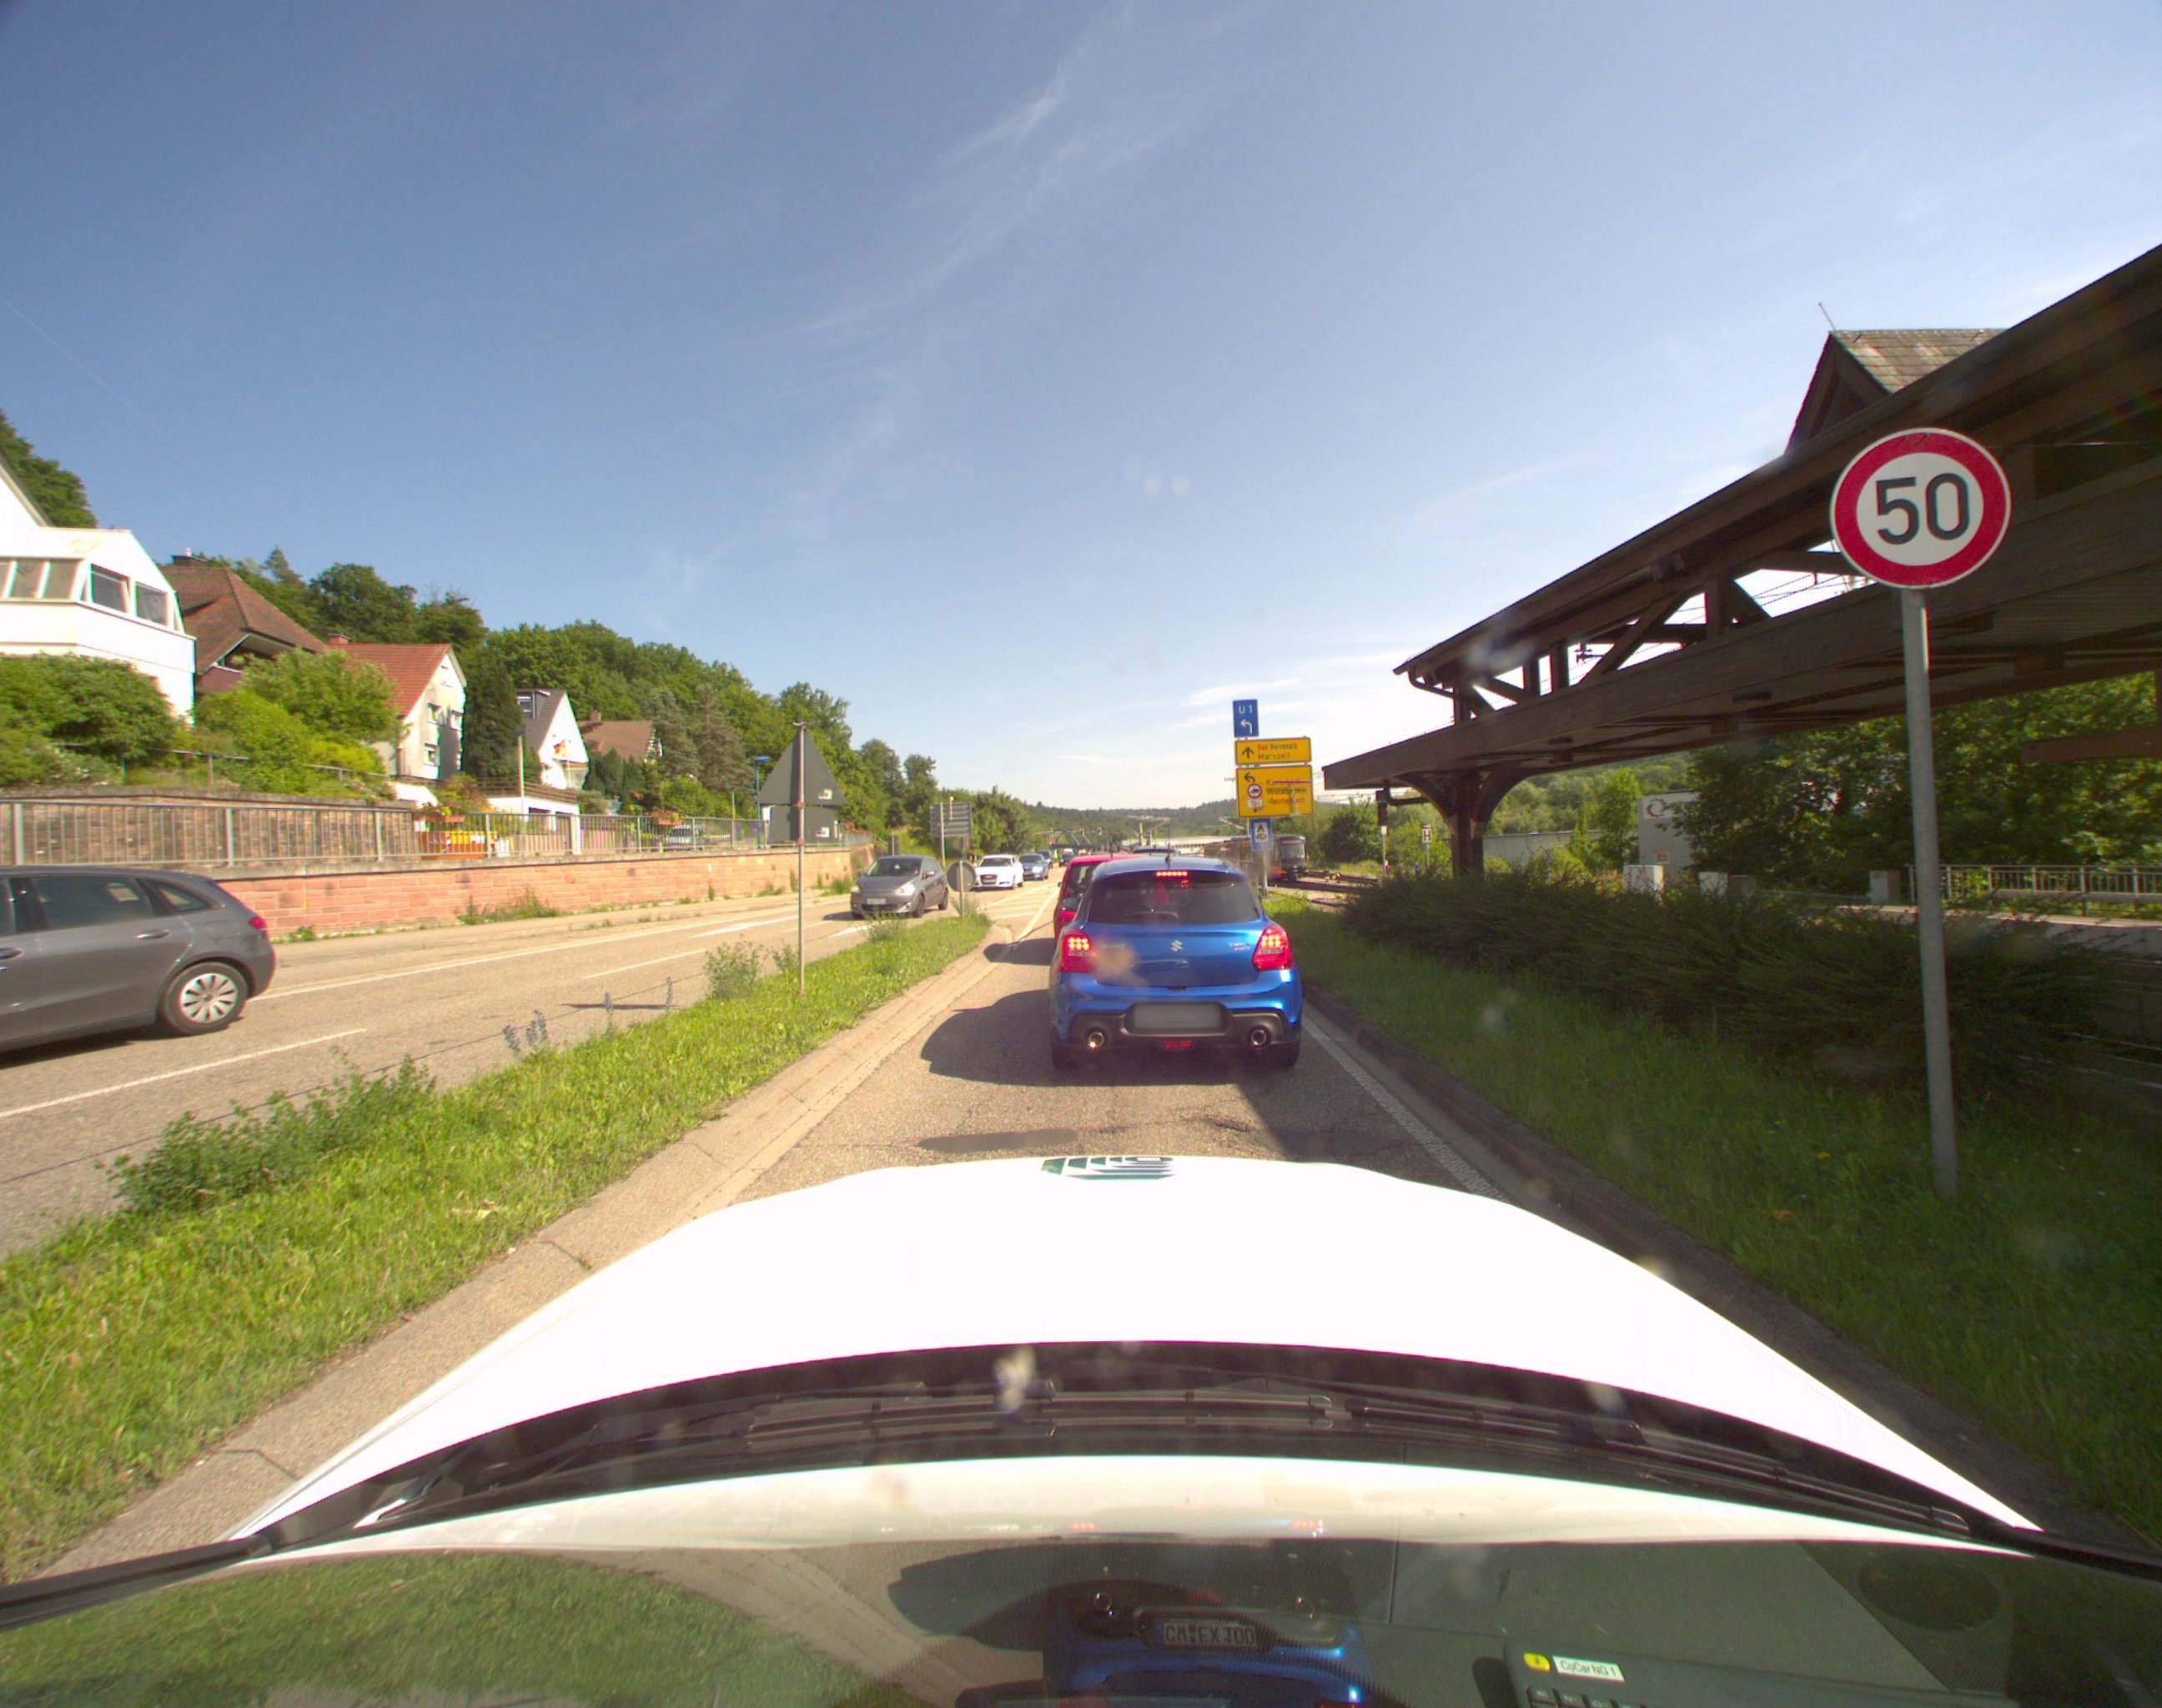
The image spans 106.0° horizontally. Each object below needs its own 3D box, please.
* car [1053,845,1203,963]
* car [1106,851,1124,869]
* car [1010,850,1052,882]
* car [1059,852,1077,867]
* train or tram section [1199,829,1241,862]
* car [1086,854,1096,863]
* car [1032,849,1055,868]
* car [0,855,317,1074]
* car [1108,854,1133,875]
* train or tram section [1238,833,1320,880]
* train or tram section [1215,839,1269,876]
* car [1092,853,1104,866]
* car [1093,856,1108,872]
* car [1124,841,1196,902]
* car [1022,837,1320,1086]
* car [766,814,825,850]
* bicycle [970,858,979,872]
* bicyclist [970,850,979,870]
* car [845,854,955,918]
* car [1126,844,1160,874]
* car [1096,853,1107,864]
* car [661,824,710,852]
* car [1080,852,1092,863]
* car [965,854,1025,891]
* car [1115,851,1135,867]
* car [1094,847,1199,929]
[{"bbox_3d":[0.737,0.668,12.824,1.985,1.571,4.004,0,0,3],"label":"car"},{"bbox_3d":[3.971,0.703,95.037,1.986,2.013,4.002,0,1,2],"label":"car"},{"bbox_3d":[-2.684,0.626,44.226,1.825,1.468,3.815,1,2,3],"label":"car"},{"bbox_3d":[-1.380,0.580,88.323,1.826,1.431,3.812,0,1,1],"label":"car"},{"bbox_3d":[15.316,-0.915,90.524,2.746,3.364,12.049,0,0,1],"label":"train or tram section"},{"bbox_3d":[2.273,0.997,184.538,1.986,2.013,4.002,0,1,2],"label":"car"},{"bbox_3d":[-3.598,0.448,79.002,1.825,1.713,3.814,0,1,3],"label":"car"},{"bbox_3d":[-8.789,0.818,5.933,1.985,1.564,4.514,-1,0,4],"label":"car"},{"bbox_3d":[3.001,0.728,60.995,1.824,1.431,3.815,1,1,4],"label":"car"},{"bbox_3d":[15.583,0.156,65.511,2.847,3.365,14.348,-1,0,-1],"label":"train or tram section"},{"bbox_3d":[15.359,0.340,78.560,2.777,3.364,12.045,0,0,0],"label":"train or tram section"},{"bbox_3d":[2.862,0.861,136.407,1.986,2.013,4.002,0,1,2],"label":"car"},{"bbox_3d":[2.707,1.351,112.854,1.986,2.013,4.002,0,1,2],"label":"car"},{"bbox_3d":[2.332,0.479,24.891,1.985,1.686,4.501,0,0,3],"label":"car"},{"bbox_3d":[0.609,0.672,7.153,1.862,1.548,4.001,-1,0,1],"label":"car"},{"bbox_3d":[-16.102,-1.242,46.126,2.017,1.920,4.724,0,1,-5],"label":"car"},{"bbox_3d":[-8.135,0.822,62.201,0.564,1.043,1.551,0,1,-1],"label":"bicycle"},{"bbox_3d":[-8.120,0.446,62.216,0.627,1.507,0.506,0,1,-2],"label":"bicyclist"},{"bbox_3d":[-4.419,0.729,20.444,1.665,1.441,3.843,-1,0,3],"label":"car"},{"bbox_3d":[3.760,0.281,49.815,1.985,1.736,4.004,0,0,3],"label":"car"},{"bbox_3d":[3.971,0.847,157.872,1.986,2.013,4.002,0,1,2],"label":"car"},{"bbox_3d":[-24.460,-0.978,50.500,1.898,1.629,3.981,-1,0,-14],"label":"car"},{"bbox_3d":[0.925,0.581,140.352,1.986,1.783,4.002,0,0,2],"label":"car"},{"bbox_3d":[-3.486,0.712,33.753,1.825,1.369,3.953,0,1,3],"label":"car"},{"bbox_3d":[4.380,0.487,80.743,1.824,1.493,3.815,1,1,4],"label":"car"},{"bbox_3d":[1.406,0.640,18.080,1.985,1.531,4.606,-2,0,3],"label":"car"}]
